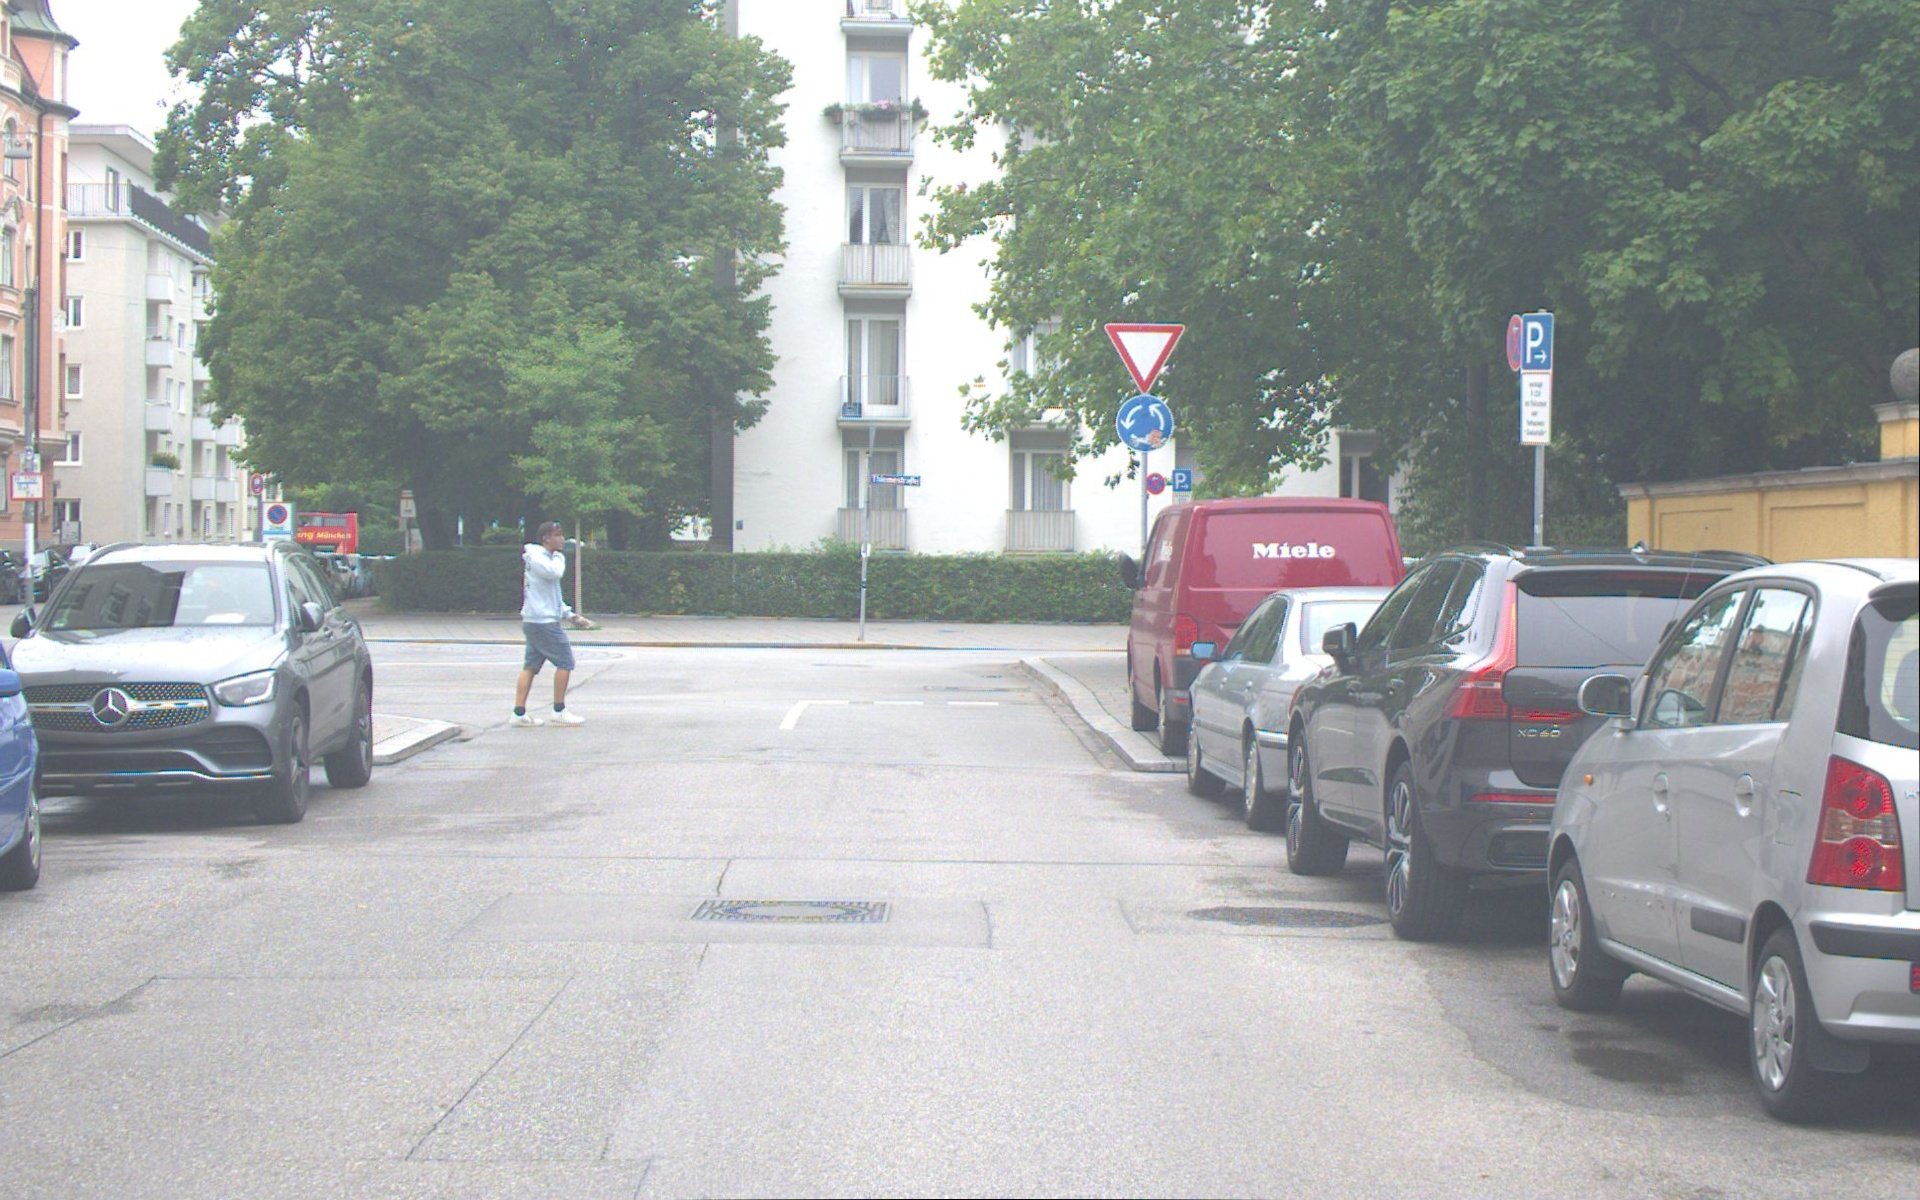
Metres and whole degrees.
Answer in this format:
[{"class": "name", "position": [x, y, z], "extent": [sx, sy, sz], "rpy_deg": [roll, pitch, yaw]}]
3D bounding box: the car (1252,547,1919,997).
[{"class": "car", "position": [2.625, 0.630, 15.634], "extent": [1.884, 1.647, 4.824], "rpy_deg": [3, 1, -3]}]

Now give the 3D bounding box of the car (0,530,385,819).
[{"class": "car", "position": [-4.751, 0.389, 21.331], "extent": [1.746, 1.597, 4.497], "rpy_deg": [0, 1, -2]}]

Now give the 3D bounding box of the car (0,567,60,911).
[{"class": "car", "position": [-4.821, 0.573, 14.274], "extent": [1.691, 1.410, 3.664], "rpy_deg": [0, 1, -8]}]

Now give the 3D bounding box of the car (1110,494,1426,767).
[{"class": "car", "position": [2.348, 0.193, 27.459], "extent": [1.874, 1.914, 4.888], "rpy_deg": [2, 1, -2]}]

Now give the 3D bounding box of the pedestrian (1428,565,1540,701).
[{"class": "pedestrian", "position": [5.256, 0.320, 34.534], "extent": [1.009, 1.333, 0.876], "rpy_deg": [1, 0, 3]}]

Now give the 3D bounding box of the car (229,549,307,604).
[{"class": "car", "position": [-19.230, -0.678, 95.634], "extent": [1.834, 1.500, 4.116], "rpy_deg": [0, 1, -7]}]

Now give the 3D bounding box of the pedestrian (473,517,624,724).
[{"class": "pedestrian", "position": [-3.598, 0.173, 30.027], "extent": [1.048, 1.765, 0.877], "rpy_deg": [1, 0, -26]}]

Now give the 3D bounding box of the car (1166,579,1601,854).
[{"class": "car", "position": [2.544, 0.653, 21.732], "extent": [1.884, 1.443, 4.369], "rpy_deg": [3, 1, -4]}]

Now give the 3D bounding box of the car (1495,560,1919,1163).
[{"class": "car", "position": [2.843, 0.685, 10.753], "extent": [1.484, 1.534, 3.693], "rpy_deg": [3, 1, -4]}]

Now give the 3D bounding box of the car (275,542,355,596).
[{"class": "car", "position": [-19.842, -0.954, 105.896], "extent": [1.835, 1.629, 3.820], "rpy_deg": [0, 1, -2]}]

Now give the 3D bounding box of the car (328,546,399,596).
[{"class": "car", "position": [-19.939, -0.982, 115.025], "extent": [1.835, 1.629, 3.820], "rpy_deg": [0, 1, -2]}]

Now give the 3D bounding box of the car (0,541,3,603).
[{"class": "car", "position": [-24.949, -0.697, 84.148], "extent": [1.975, 1.575, 4.408], "rpy_deg": [1, 1, -3]}]

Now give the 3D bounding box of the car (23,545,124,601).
[{"class": "car", "position": [-26.059, -0.802, 101.207], "extent": [1.975, 1.575, 4.408], "rpy_deg": [1, 1, -3]}]

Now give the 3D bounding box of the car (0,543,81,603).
[{"class": "car", "position": [-25.578, -0.756, 94.300], "extent": [1.975, 1.575, 4.408], "rpy_deg": [1, 1, -3]}]

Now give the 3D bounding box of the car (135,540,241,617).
[{"class": "car", "position": [-15.483, -0.457, 69.128], "extent": [1.818, 1.500, 4.423], "rpy_deg": [0, 1, -9]}]

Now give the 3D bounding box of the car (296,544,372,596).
[{"class": "car", "position": [-19.993, -0.965, 109.938], "extent": [1.835, 1.629, 3.820], "rpy_deg": [0, 1, -2]}]
